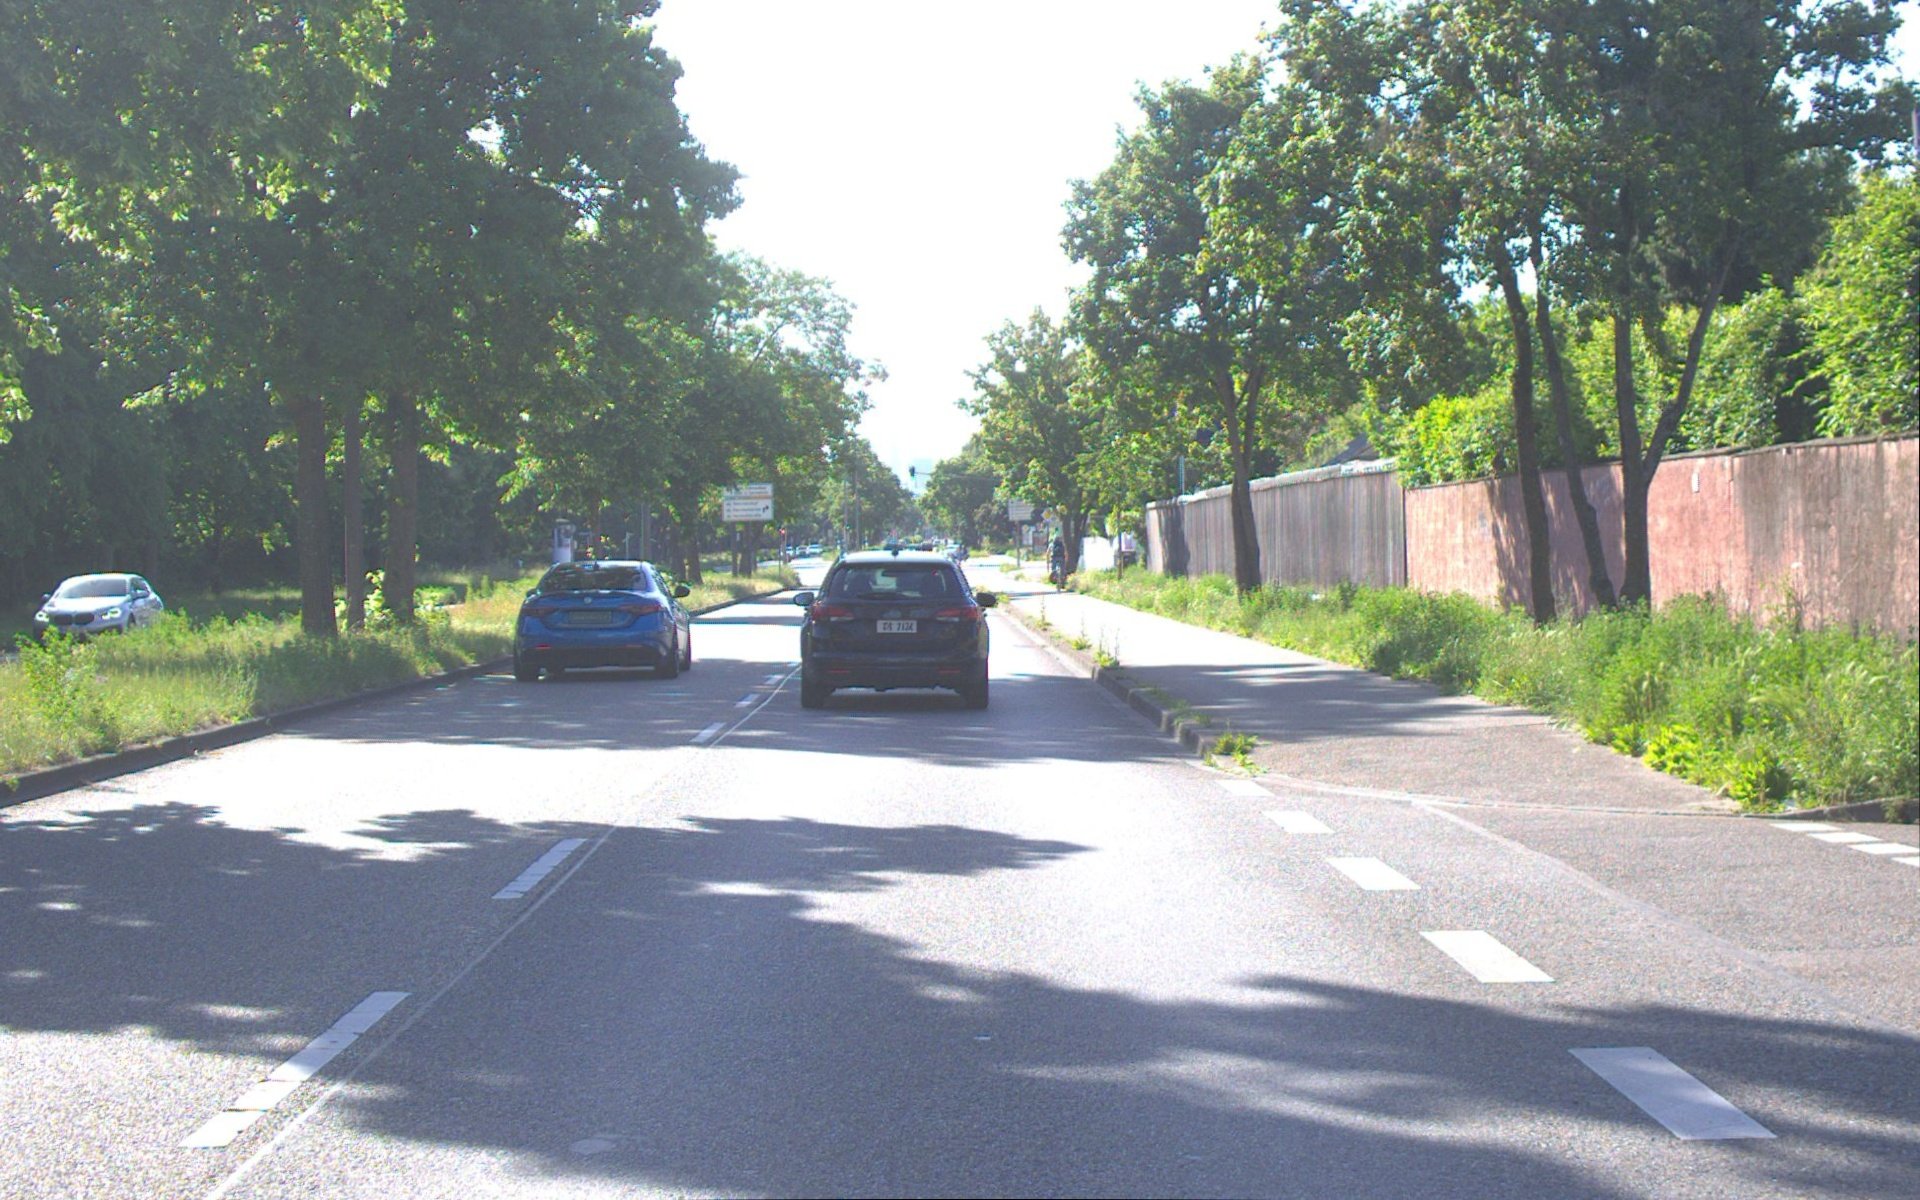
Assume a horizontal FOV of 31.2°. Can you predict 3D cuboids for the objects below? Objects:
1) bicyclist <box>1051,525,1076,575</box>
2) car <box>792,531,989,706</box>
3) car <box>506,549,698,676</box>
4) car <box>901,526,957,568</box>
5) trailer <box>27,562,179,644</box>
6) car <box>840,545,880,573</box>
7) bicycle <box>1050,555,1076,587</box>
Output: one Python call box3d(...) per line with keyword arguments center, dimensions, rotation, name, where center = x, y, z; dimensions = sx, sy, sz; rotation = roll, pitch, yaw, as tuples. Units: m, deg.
box3d(center=(2.961, -1.428, 98.646), dimensions=(0.680, 1.414, 0.812), rotation=(-1, 1, -1), name="bicyclist")
box3d(center=(-0.612, 0.143, 33.112), dimensions=(1.760, 1.554, 4.000), rotation=(1, 1, 0), name="car")
box3d(center=(-4.263, 0.114, 41.520), dimensions=(1.994, 1.400, 4.001), rotation=(-1, 1, -2), name="car")
box3d(center=(-1.163, -1.982, 127.426), dimensions=(1.978, 1.435, 4.001), rotation=(-1, 2, -2), name="car")
box3d(center=(-16.450, 0.035, 66.192), dimensions=(1.740, 1.419, 4.496), rotation=(-3, 1, 0), name="trailer")
box3d(center=(-5.511, -2.254, 189.166), dimensions=(1.978, 1.435, 4.001), rotation=(-1, 2, -4), name="car")
box3d(center=(2.954, -0.833, 98.689), dimensions=(0.655, 0.889, 1.875), rotation=(-1, 1, -1), name="bicycle")
